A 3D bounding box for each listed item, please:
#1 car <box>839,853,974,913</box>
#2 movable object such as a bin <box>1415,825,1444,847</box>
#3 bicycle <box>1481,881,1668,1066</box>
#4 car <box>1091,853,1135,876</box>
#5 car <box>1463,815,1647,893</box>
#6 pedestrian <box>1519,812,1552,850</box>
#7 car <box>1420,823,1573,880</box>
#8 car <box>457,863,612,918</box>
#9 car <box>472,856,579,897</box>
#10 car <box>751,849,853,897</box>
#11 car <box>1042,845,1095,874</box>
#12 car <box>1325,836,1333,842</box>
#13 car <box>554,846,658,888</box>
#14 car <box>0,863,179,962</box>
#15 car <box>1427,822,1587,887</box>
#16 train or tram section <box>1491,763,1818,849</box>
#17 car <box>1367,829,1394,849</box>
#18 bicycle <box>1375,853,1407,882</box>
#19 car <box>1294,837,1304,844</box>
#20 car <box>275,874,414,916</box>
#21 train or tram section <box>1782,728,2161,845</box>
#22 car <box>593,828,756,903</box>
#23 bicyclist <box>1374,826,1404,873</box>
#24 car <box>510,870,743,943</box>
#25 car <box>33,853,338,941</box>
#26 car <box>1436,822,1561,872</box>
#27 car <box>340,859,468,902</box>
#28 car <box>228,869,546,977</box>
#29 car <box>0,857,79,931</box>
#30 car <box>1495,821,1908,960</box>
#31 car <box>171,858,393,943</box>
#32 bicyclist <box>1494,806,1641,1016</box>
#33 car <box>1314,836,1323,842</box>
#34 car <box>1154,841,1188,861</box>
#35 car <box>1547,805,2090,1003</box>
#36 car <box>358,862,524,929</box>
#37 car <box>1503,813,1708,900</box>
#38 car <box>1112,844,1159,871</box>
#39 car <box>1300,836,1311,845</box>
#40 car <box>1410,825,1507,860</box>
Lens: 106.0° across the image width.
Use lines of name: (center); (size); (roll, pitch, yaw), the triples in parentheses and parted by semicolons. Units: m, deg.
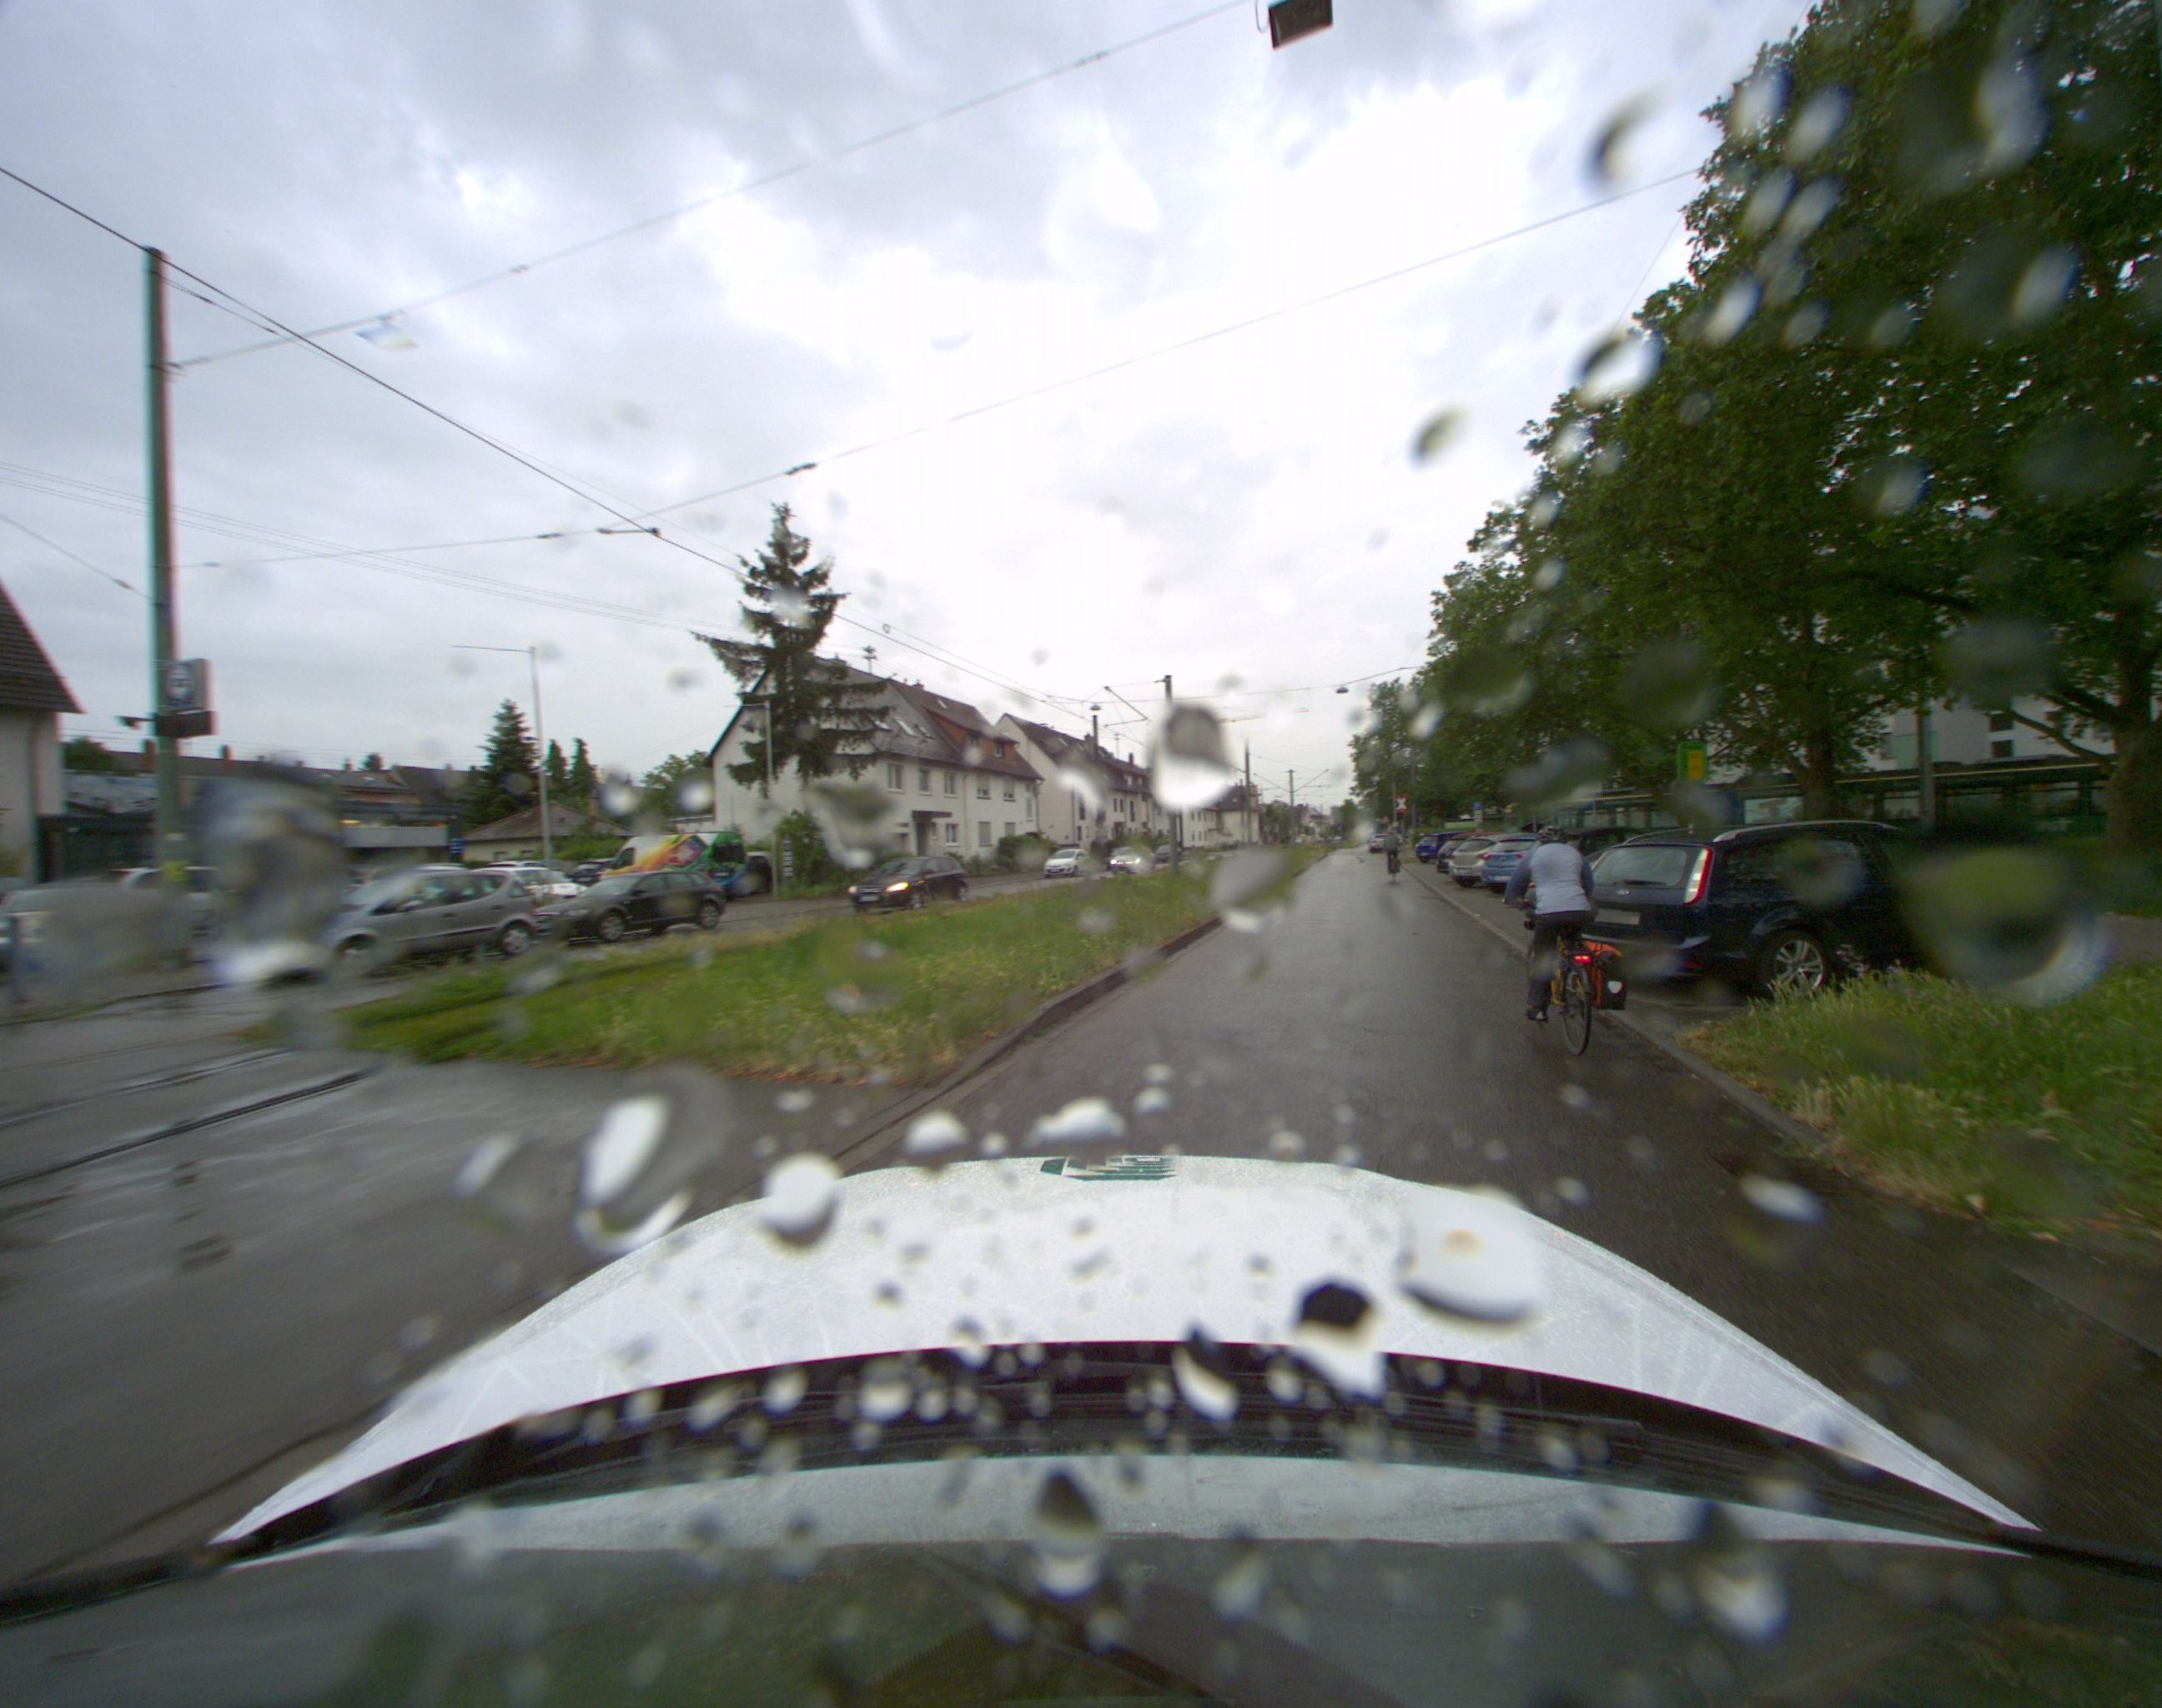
car: (-4.711, 0.775, 22.575); (1.722, 1.486, 4.020); (-2, -1, 20)
movable object such as a bin: (28.484, -1.498, 66.608); (1.547, 1.704, 1.498); (-3, 0, -5)
bicycle: (3.728, 0.826, 6.348); (0.747, 1.072, 1.936); (-2, 2, 16)
car: (2.172, 0.704, 54.251); (1.587, 1.424, 4.689); (-2, -1, 19)
car: (11.886, -0.003, 20.426); (4.003, 1.500, 1.811); (-6, 0, -21)
pedestrian: (21.795, -1.087, 39.087); (1.038, 1.714, 1.083); (-3, 0, 9)
car: (13.347, -0.092, 26.247); (4.114, 1.480, 1.858); (-4, 1, -13)
car: (-15.318, 1.019, 22.822); (3.796, 1.396, 1.732); (-2, -1, 22)
car: (-24.697, 0.952, 36.427); (1.784, 1.580, 4.443); (-3, 1, -3)
car: (-11.528, 0.764, 33.937); (1.977, 1.564, 3.915); (-2, 4, 18)
car: (-0.634, 0.318, 44.210); (1.587, 1.424, 3.963); (-2, -1, 19)
car: (72.430, -4.313, 237.904); (1.977, 1.544, 4.020); (-2, -1, 20)
car: (-19.905, 0.496, 34.368); (1.855, 1.580, 4.395); (-3, 1, -3)
car: (-17.752, 0.987, 14.508); (4.005, 1.504, 1.845); (-3, -2, 36)
car: (12.191, 0.017, 23.336); (4.006, 1.553, 1.945); (-3, -1, -24)
train or tram section: (28.885, -2.167, 42.749); (2.719, 3.589, 14.617); (-1, 0, -25)
car: (25.816, -1.251, 70.266); (1.939, 1.553, 4.019); (-4, -1, 18)
bicycle: (10.648, 0.445, 28.045); (0.815, 0.912, 1.994); (-3, 0, 16)
car: (49.571, -3.065, 185.101); (1.977, 1.544, 4.020); (-2, -1, 20)
car: (-26.026, 1.438, 28.805); (3.957, 1.332, 1.767); (-2, -1, 15)
train or tram section: (34.838, -2.274, 29.389); (2.719, 3.589, 14.617); (-1, 0, -25)
car: (-14.481, 0.447, 29.062); (5.090, 2.406, 2.162); (-2, -1, 18)
bicyclist: (10.647, -0.141, 28.163); (0.824, 1.558, 0.918); (-3, -1, 16)
car: (-9.749, 1.074, 17.916); (1.703, 1.339, 4.410); (-2, -1, 20)
car: (-20.926, 0.918, 19.338); (1.739, 1.687, 4.471); (-3, 1, 21)
car: (14.775, -0.243, 28.896); (3.585, 1.480, 1.633); (-4, 1, -8)
car: (-25.838, 1.017, 31.093); (3.957, 1.498, 1.794); (-2, -1, 16)
car: (-11.301, 1.047, 13.597); (1.703, 1.504, 3.661); (-2, -1, 19)
car: (-26.459, 1.024, 18.313); (1.976, 1.687, 4.471); (-3, 1, 21)
car: (8.154, 0.402, 10.857); (4.536, 1.476, 1.798); (-3, 1, -11)
car: (-17.040, 0.985, 17.394); (3.827, 1.578, 1.817); (-2, 1, 20)
bicyclist: (3.698, 0.402, 6.263); (0.745, 1.485, 0.850); (-2, 2, 16)
car: (62.335, -3.954, 213.769); (1.977, 1.544, 4.020); (-2, -1, 20)
car: (7.389, -0.248, 66.812); (1.861, 1.503, 4.153); (-2, -1, 19)
car: (7.027, 0.375, 7.924); (4.166, 1.476, 1.797); (-3, 1, -12)
car: (-16.170, 1.051, 20.590); (3.573, 1.573, 1.732); (-2, -1, 22)
car: (11.093, 0.055, 17.290); (3.514, 1.506, 1.744); (-4, -1, -17)
car: (3.069, 0.205, 45.014); (1.587, 1.424, 3.839); (-2, -1, 20)
car: (52.499, -3.149, 190.330); (1.977, 1.705, 4.020); (-2, -1, 20)
car: (18.830, -0.582, 40.711); (3.991, 1.483, 1.992); (-3, 2, -13)
